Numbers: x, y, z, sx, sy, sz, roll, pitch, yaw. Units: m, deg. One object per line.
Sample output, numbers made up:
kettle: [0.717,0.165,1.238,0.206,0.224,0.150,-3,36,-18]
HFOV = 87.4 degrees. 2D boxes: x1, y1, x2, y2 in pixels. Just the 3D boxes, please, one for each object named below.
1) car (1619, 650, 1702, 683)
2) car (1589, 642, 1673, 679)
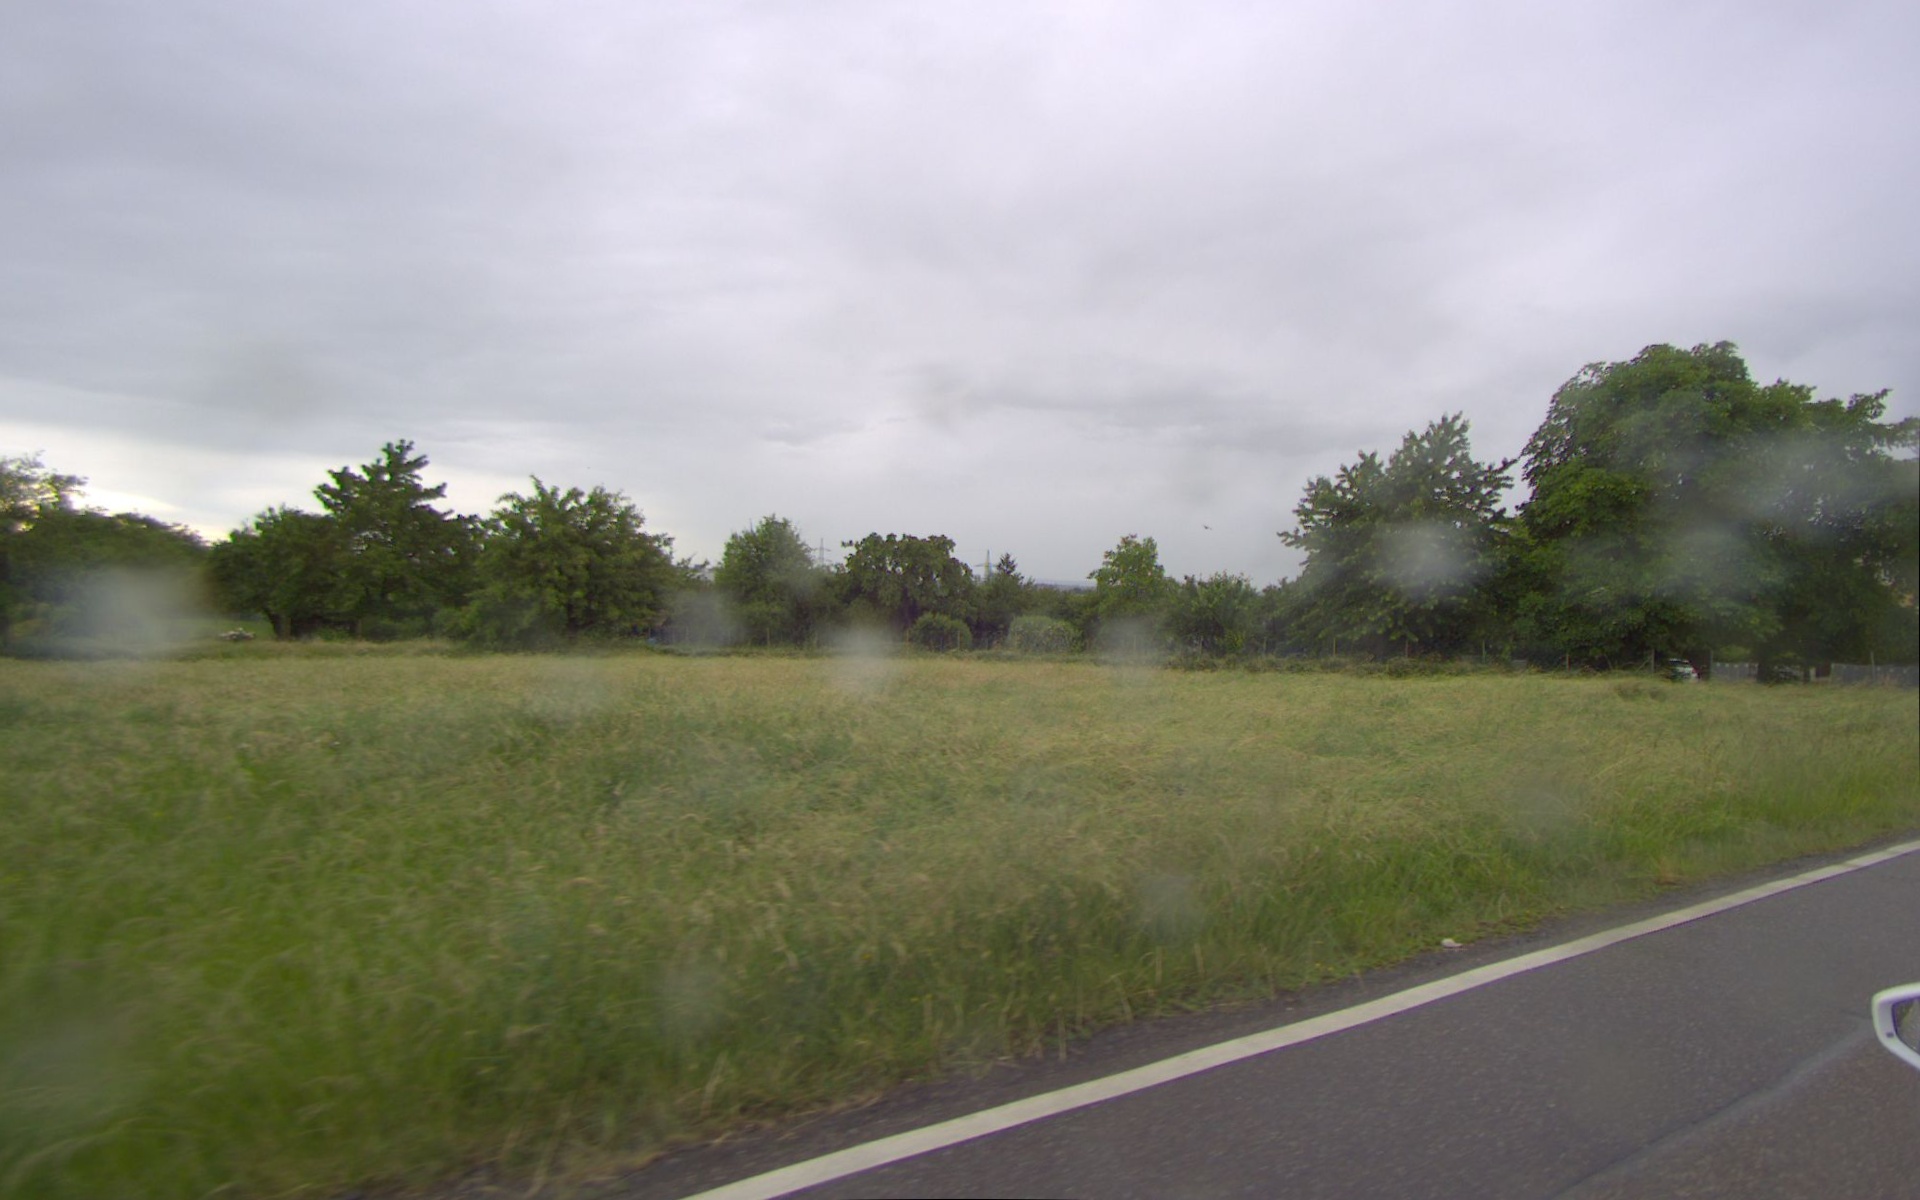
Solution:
car: [36.165,3.393,51.959,1.580,1.522,3.726,3,-3,-1]
car: [33.547,3.018,50.313,1.659,1.572,3.697,3,-1,0]
